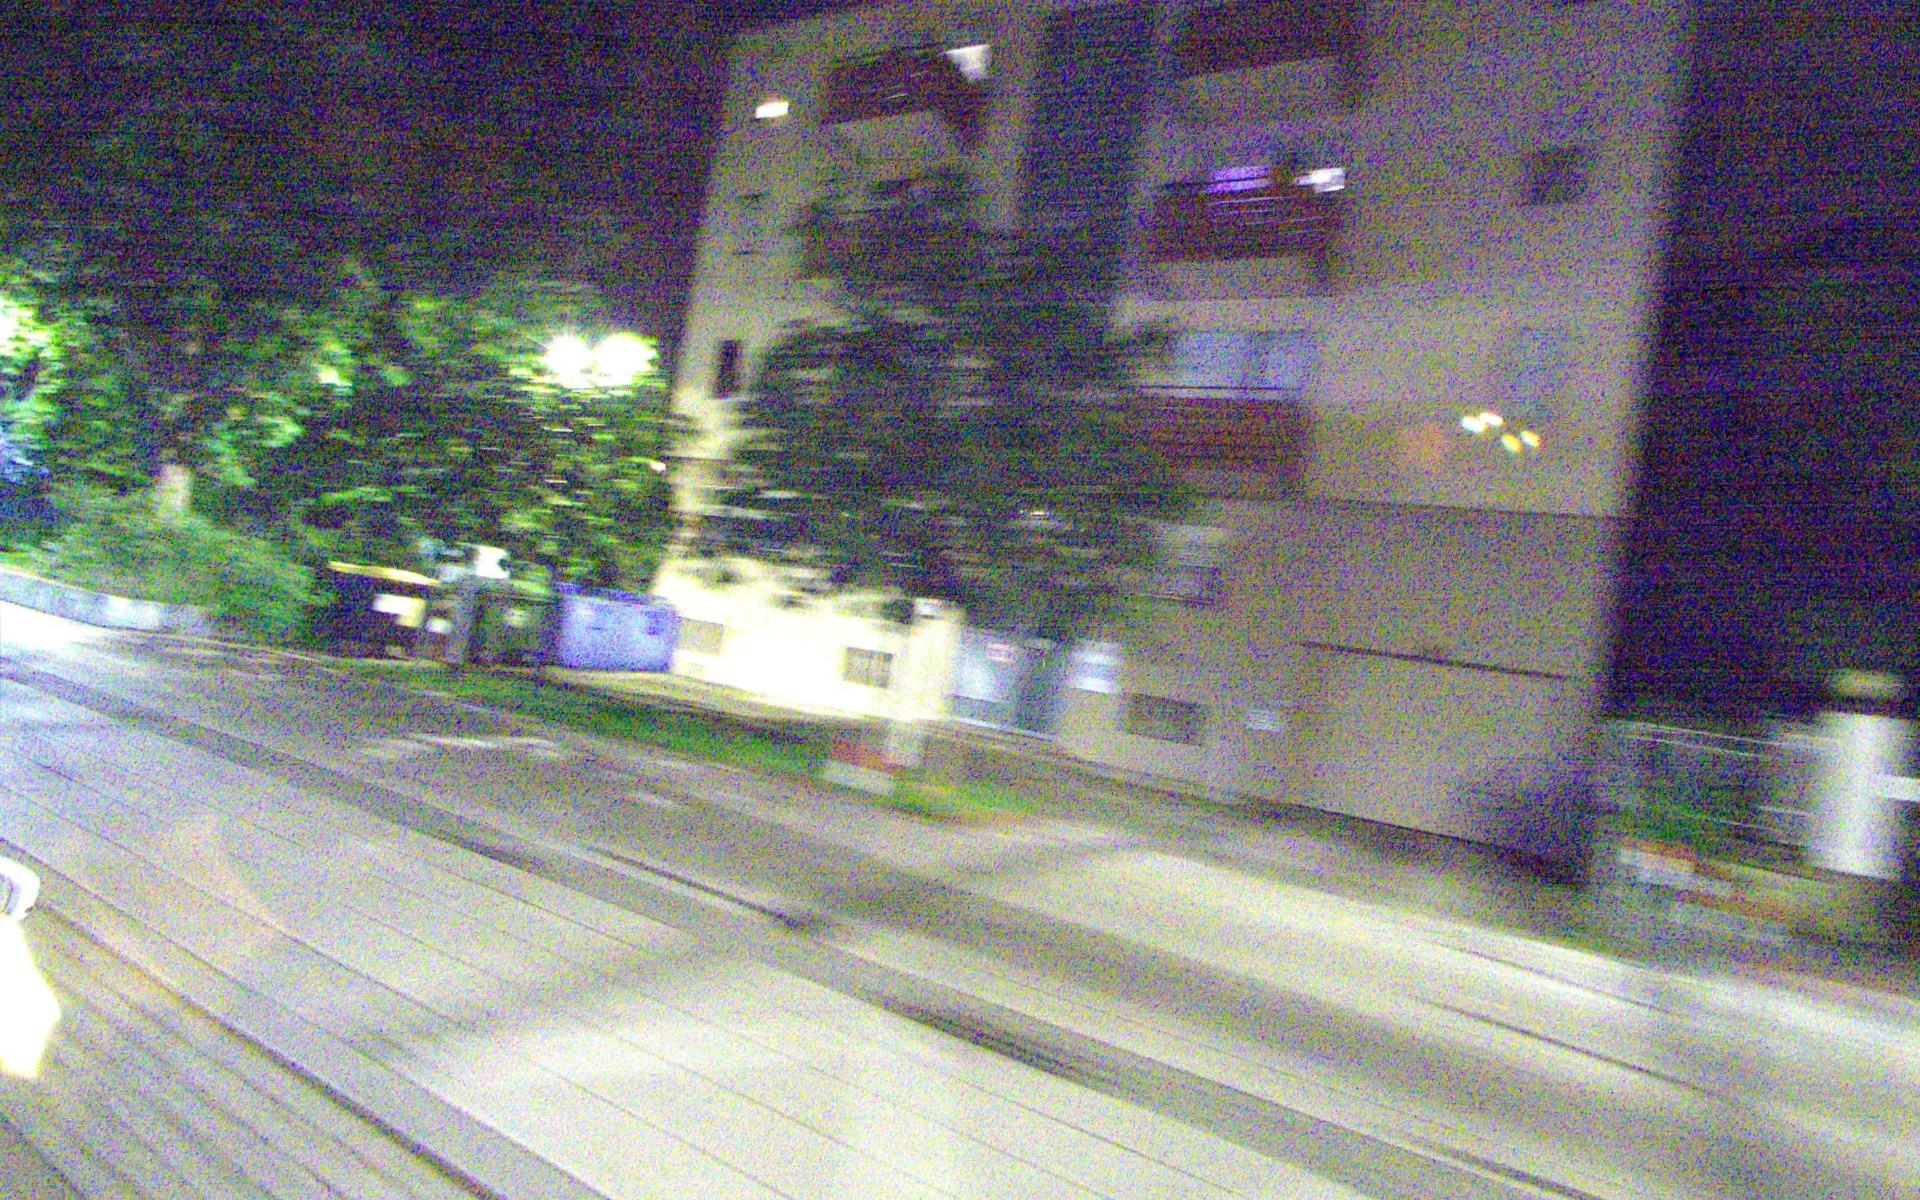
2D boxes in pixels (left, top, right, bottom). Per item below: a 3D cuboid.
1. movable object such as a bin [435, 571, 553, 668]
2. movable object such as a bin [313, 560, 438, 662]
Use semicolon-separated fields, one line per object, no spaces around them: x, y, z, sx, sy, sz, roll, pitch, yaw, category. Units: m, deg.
-7.890;0.339;17.077;1.098;1.436;1.264;7;-2;29;movable object such as a bin
-8.818;0.179;15.213;0.992;1.321;1.108;7;-3;27;movable object such as a bin
